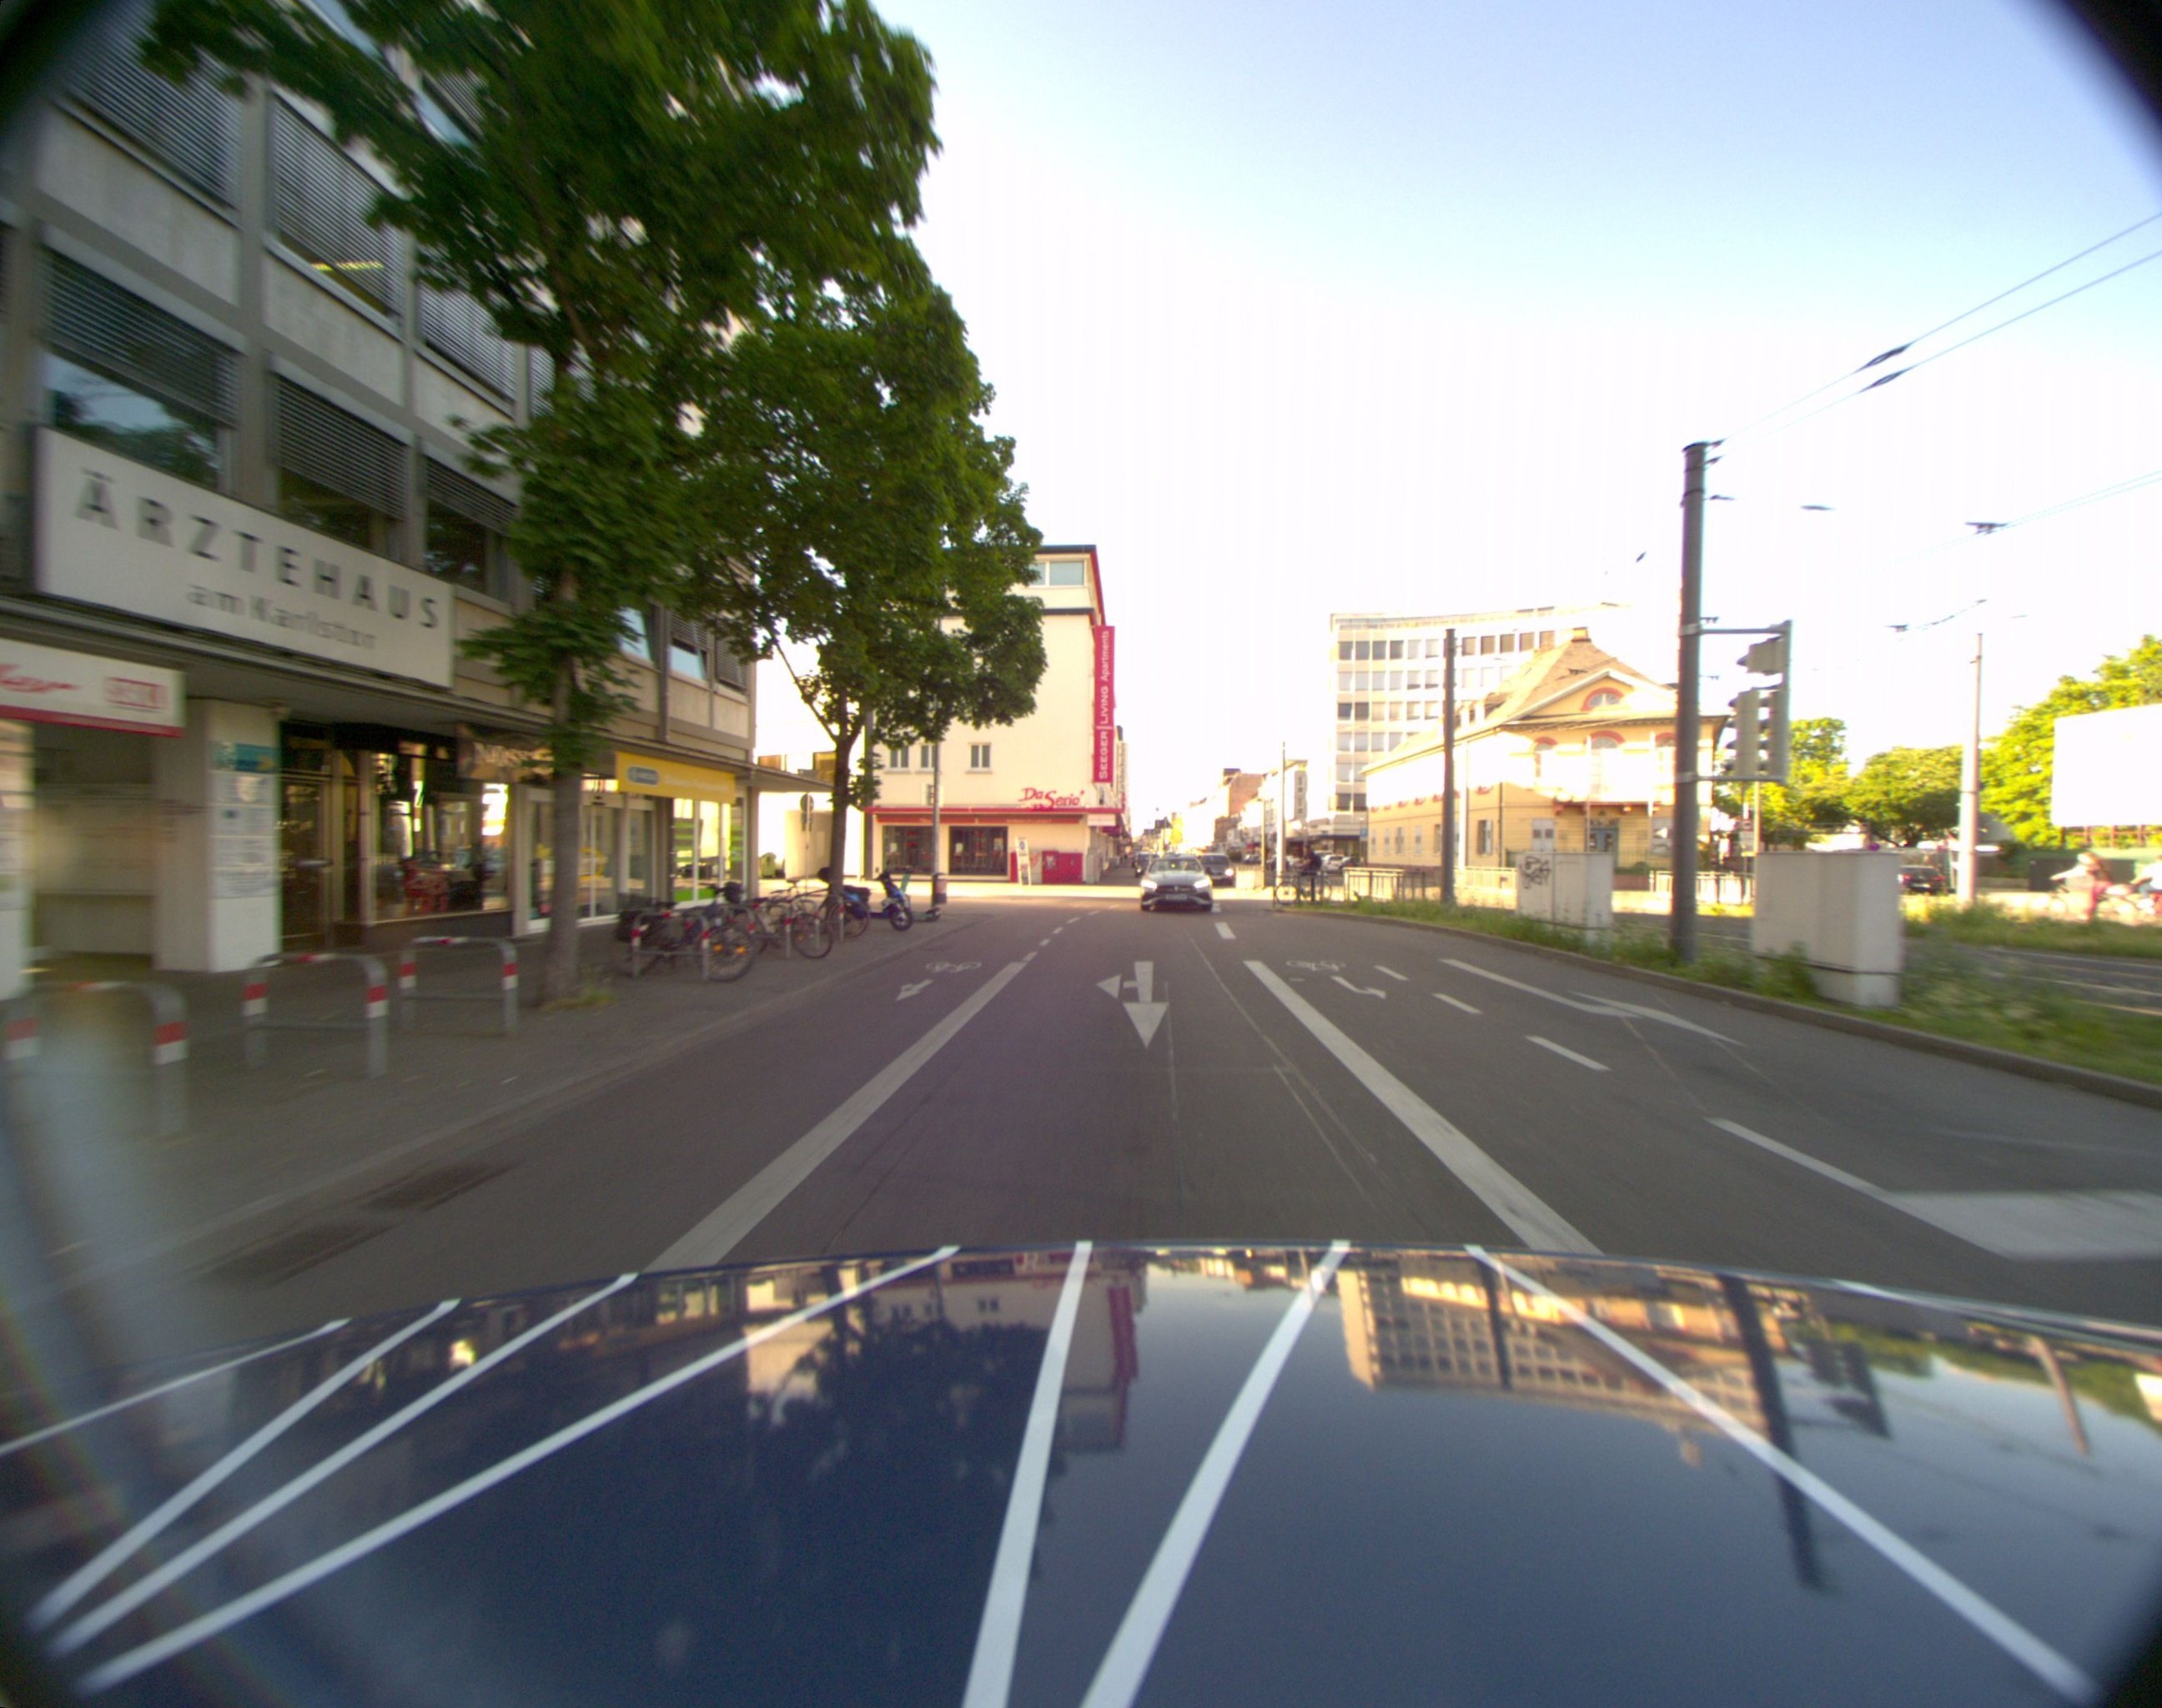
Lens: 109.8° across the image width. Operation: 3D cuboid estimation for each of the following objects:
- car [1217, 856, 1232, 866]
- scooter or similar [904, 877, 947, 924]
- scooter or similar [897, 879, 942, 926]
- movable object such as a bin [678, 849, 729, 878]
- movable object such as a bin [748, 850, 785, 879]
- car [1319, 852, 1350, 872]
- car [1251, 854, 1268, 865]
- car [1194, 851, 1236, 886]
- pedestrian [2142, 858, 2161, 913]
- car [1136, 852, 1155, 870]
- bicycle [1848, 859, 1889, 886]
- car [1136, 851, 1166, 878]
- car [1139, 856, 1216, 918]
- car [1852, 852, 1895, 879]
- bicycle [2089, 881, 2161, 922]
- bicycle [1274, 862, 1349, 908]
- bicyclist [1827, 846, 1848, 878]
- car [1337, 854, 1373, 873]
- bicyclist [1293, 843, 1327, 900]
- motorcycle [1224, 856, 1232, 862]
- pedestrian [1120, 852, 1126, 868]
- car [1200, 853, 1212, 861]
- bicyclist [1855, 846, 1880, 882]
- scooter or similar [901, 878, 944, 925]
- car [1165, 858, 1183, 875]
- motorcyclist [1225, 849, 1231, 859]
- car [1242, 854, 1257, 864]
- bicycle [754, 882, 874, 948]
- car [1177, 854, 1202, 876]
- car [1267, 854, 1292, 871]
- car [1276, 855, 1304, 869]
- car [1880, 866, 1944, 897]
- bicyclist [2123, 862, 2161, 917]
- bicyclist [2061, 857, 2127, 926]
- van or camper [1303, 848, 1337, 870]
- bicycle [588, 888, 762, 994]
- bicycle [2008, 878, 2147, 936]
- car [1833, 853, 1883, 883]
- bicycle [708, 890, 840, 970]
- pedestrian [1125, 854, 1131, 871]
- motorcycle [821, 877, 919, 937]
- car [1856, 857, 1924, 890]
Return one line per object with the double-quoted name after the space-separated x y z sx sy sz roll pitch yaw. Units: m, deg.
23.564 1.174 124.829 1.780 1.500 4.671 2 0 5 "car"
-3.554 1.055 17.366 0.965 1.037 0.160 1 1 9 "scooter or similar"
-3.605 1.072 16.970 0.965 1.021 0.160 1 1 9 "scooter or similar"
-17.638 0.426 35.546 1.646 1.281 1.421 0 1 27 "movable object such as a bin"
-16.159 0.523 39.087 1.217 1.432 1.284 0 1 27 "movable object such as a bin"
22.275 0.692 66.965 1.780 1.611 4.177 -1 1 7 "car"
25.620 0.767 109.212 1.785 1.408 3.598 0 1 3 "car"
6.843 0.695 39.014 1.737 1.654 3.962 2 1 5 "car"
36.035 1.026 25.243 0.595 1.807 0.705 0 1 17 "pedestrian"
6.589 0.703 77.556 1.782 1.654 4.164 2 1 5 "car"
37.367 0.876 36.090 0.530 1.207 1.887 0 1 19 "bicycle"
4.503 0.634 49.141 1.780 1.560 3.962 2 1 5 "car"
2.583 0.813 21.069 1.868 1.431 4.775 0 1 5 "car"
51.010 0.721 48.963 1.797 1.660 3.764 1 1 44 "car"
28.970 1.295 20.701 0.651 1.007 1.886 0 1 8 "bicycle"
6.244 0.838 20.644 1.825 1.205 0.641 0 1 -5 "bicycle"
40.359 0.416 40.525 0.521 1.664 0.771 0 1 24 "bicyclist"
21.994 0.721 61.164 1.780 1.431 3.962 -1 1 5 "car"
6.207 0.461 20.630 0.683 1.514 0.634 0 1 -5 "bicyclist"
22.815 0.756 118.194 0.601 0.921 2.154 0 1 -5 "motorcycle"
4.859 0.672 87.511 0.705 1.807 0.807 0 1 2 "pedestrian"
24.011 0.603 145.810 1.780 1.500 3.861 2 0 4 "car"
37.364 0.462 36.097 0.521 1.664 0.771 0 1 18 "bicyclist"
-3.585 1.065 17.170 0.958 1.033 0.160 1 1 9 "scooter or similar"
9.832 1.334 80.427 1.737 1.654 3.782 2 1 5 "car"
22.825 0.064 118.249 0.654 1.549 0.884 0 1 -5 "motorcyclist"
25.420 0.774 114.705 1.785 1.511 3.834 0 1 4 "car"
-4.496 1.032 12.873 1.855 1.050 0.399 2 1 -5 "bicycle"
8.720 0.864 61.227 1.782 1.654 3.962 2 1 5 "car"
19.419 0.779 74.572 1.688 1.551 4.123 0 1 4 "car"
23.578 0.834 85.833 1.930 1.444 4.293 -1 1 1 "car"
40.580 1.295 37.178 1.646 1.339 3.767 1 1 40 "car"
28.932 0.940 20.481 0.665 1.445 0.731 0 1 8 "bicyclist"
24.877 0.903 18.668 0.591 1.639 0.805 -1 1 -18 "bicyclist"
22.798 0.423 72.579 1.959 1.962 4.798 -1 1 4 "van or camper"
-4.702 1.000 8.839 1.814 1.145 0.435 1 1 2 "bicycle"
24.784 1.278 18.958 0.576 1.283 2.023 0 1 -18 "bicycle"
46.879 0.805 45.901 1.797 1.660 3.764 1 1 41 "car"
-4.381 1.067 10.858 1.770 1.051 0.458 0 1 11 "bicycle"
5.208 0.938 84.241 0.738 1.807 0.748 0 1 2 "pedestrian"
-4.124 1.021 14.882 1.790 1.123 0.504 0 1 7 "motorcycle"
43.858 1.019 41.275 1.888 1.660 3.872 1 1 38 "car"
